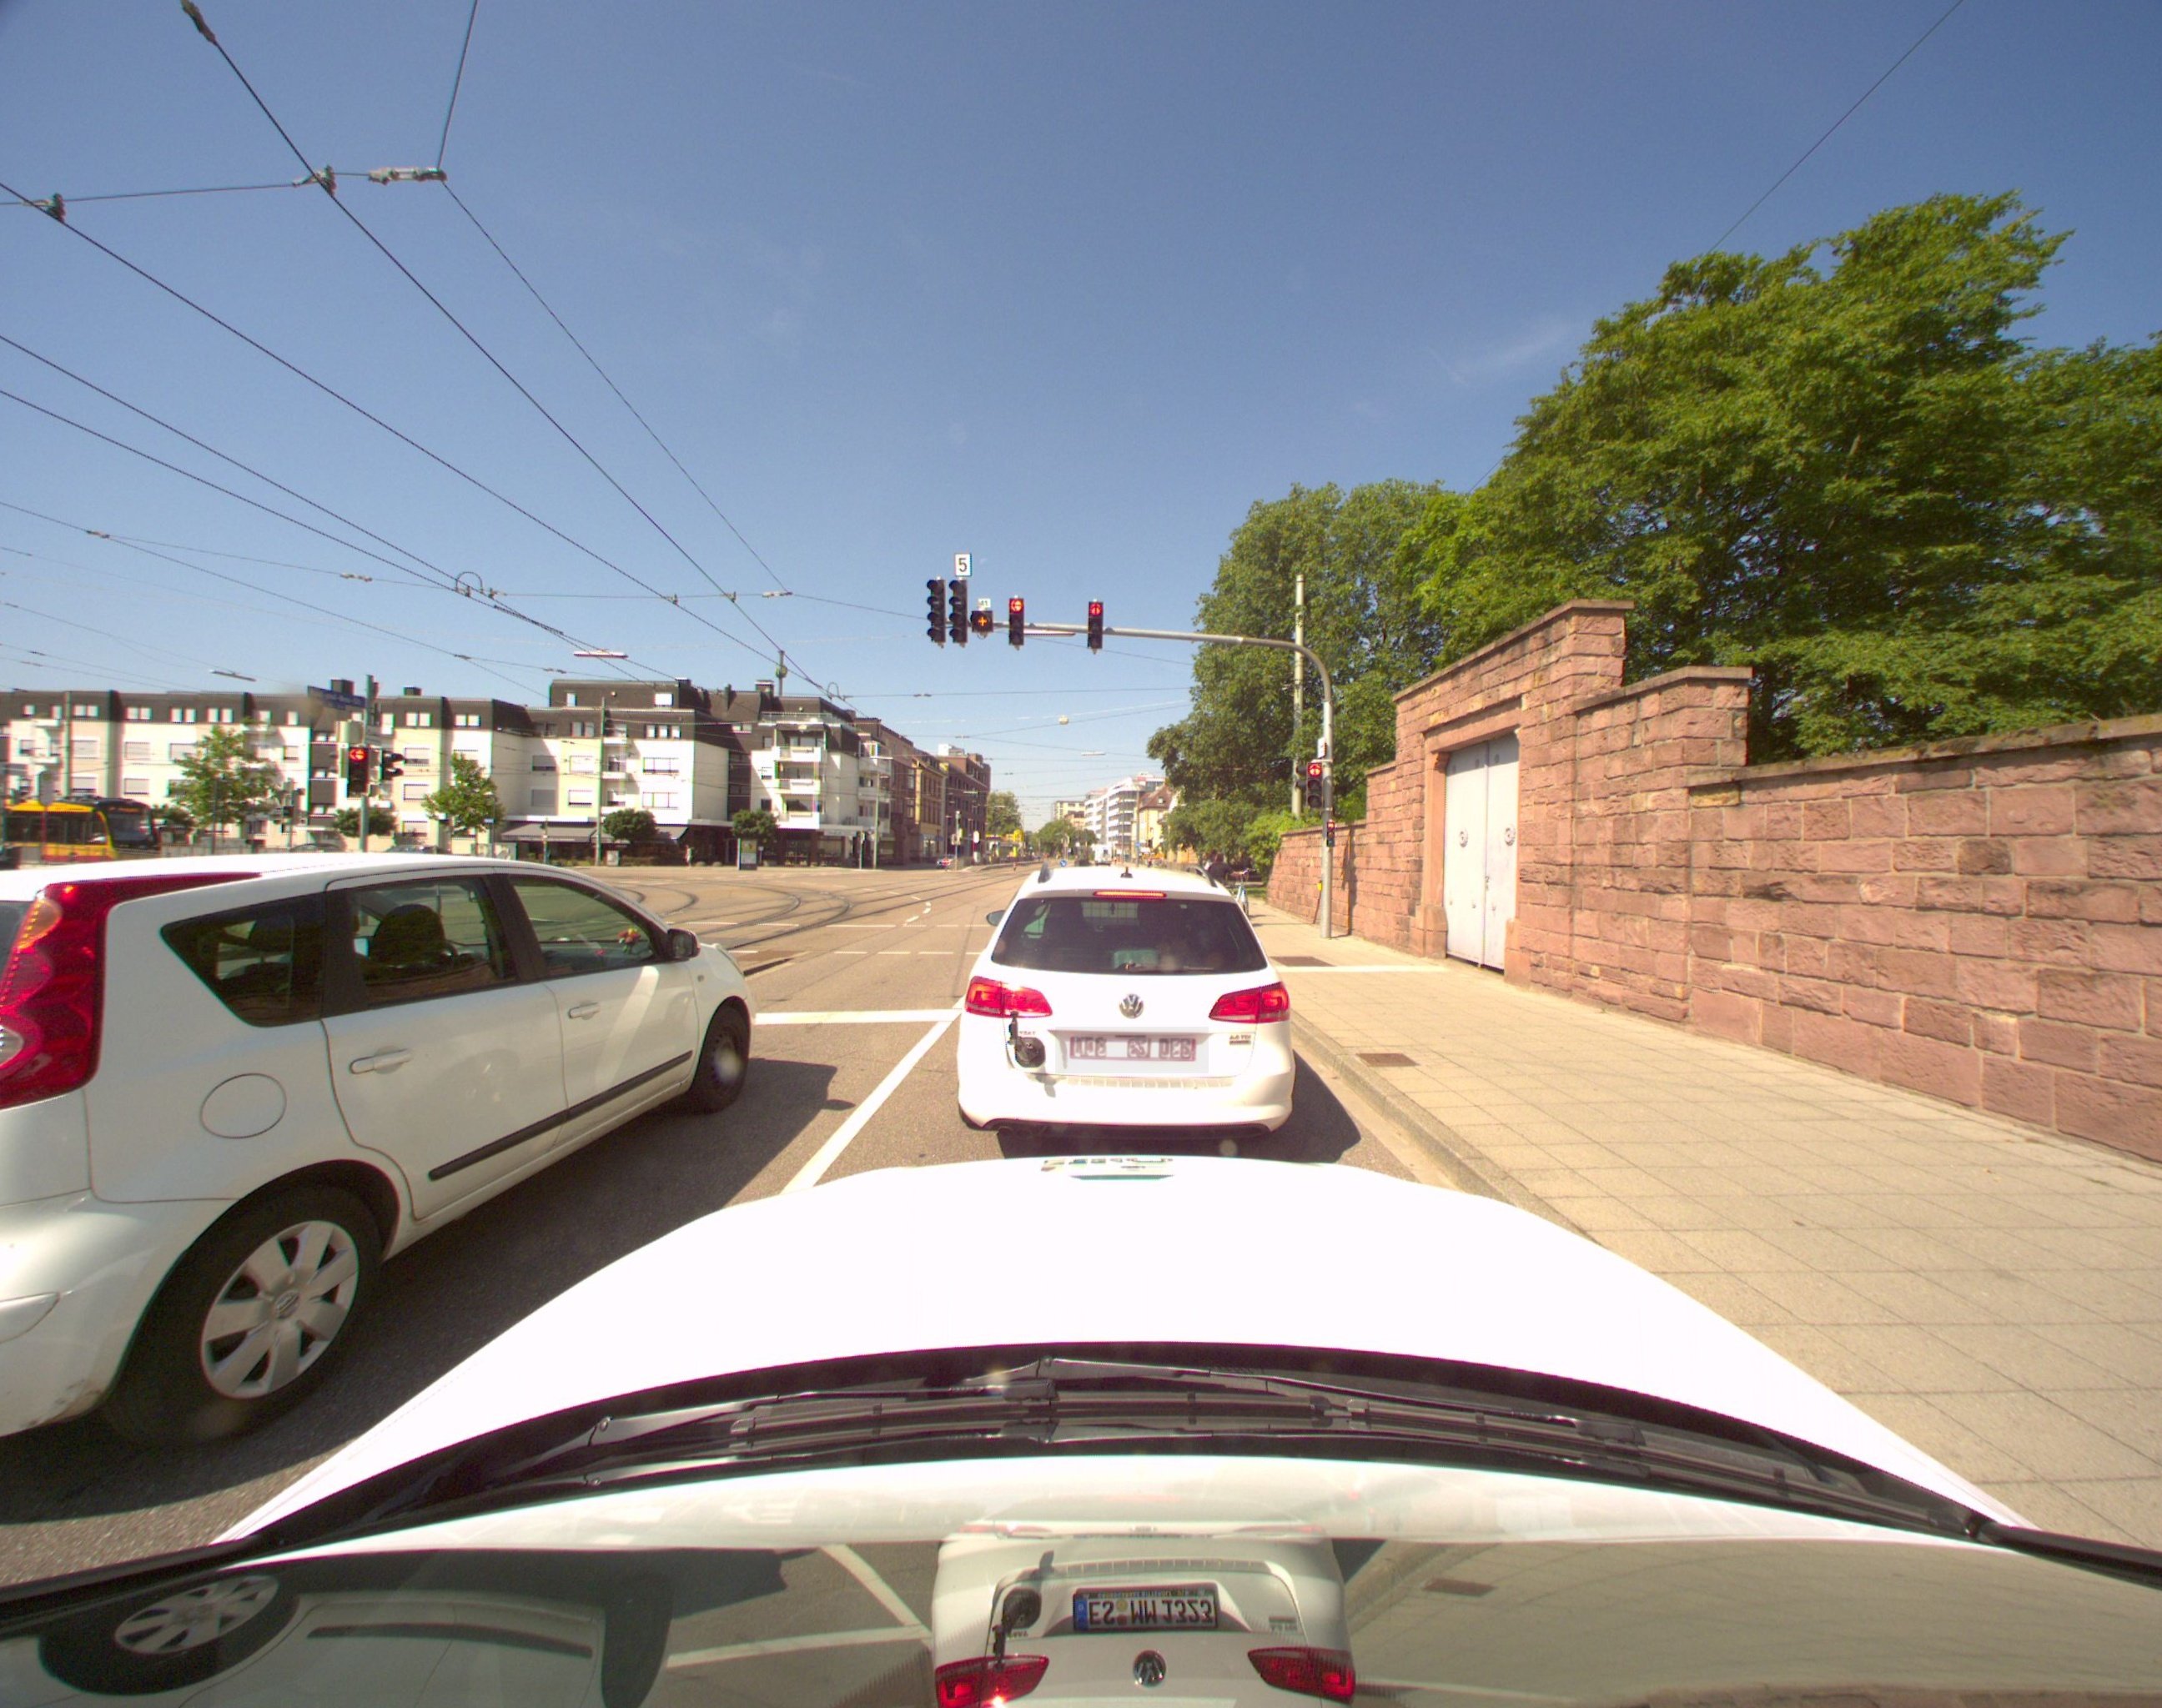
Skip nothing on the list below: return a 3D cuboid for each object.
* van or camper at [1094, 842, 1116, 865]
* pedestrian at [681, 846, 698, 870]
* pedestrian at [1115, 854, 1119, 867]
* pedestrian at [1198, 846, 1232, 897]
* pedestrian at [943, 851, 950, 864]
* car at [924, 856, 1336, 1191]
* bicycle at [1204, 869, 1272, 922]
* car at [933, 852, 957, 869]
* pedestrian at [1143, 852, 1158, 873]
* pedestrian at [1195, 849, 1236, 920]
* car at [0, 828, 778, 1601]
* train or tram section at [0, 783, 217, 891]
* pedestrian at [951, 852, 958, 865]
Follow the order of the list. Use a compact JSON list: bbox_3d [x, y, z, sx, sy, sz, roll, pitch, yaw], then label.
[{"bbox_3d":[3.335,-0.008,111.379,2.554,3.093,5.711,-1,-1,5],"label":"van or camper"},{"bbox_3d":[-28.439,0.282,59.159,0.979,1.743,0.854,0,-2,-38],"label":"pedestrian"},{"bbox_3d":[6.574,1.204,150.115,0.687,2.325,1.233,-1,-1,3],"label":"pedestrian"},{"bbox_3d":[4.488,0.587,27.387,0.949,1.651,0.975,-1,-1,0],"label":"pedestrian"},{"bbox_3d":[-17.801,0.479,107.708,0.860,1.743,0.973,-1,-1,-4],"label":"pedestrian"},{"bbox_3d":[0.269,0.747,5.584,1.801,1.448,4.001,0,0,1],"label":"car"},{"bbox_3d":[3.591,0.911,18.537,0.701,1.090,2.039,-1,0,36],"label":"bicycle"},{"bbox_3d":[-13.751,0.691,82.555,1.736,1.618,3.997,-1,-1,-1],"label":"car"},{"bbox_3d":[5.883,0.744,68.806,0.962,1.743,0.870,-2,-2,39],"label":"pedestrian"},{"bbox_3d":[3.099,0.678,18.726,0.666,1.571,0.753,0,1,36],"label":"pedestrian"},{"bbox_3d":[-2.911,0.716,3.555,1.636,1.566,3.805,-1,1,1],"label":"car"},{"bbox_3d":[-54.732,-0.686,41.515,16.149,5.150,4.735,-1,-1,0],"label":"train or tram section"},{"bbox_3d":[-17.710,0.611,114.107,0.860,1.743,0.973,-1,-1,-4],"label":"pedestrian"}]
